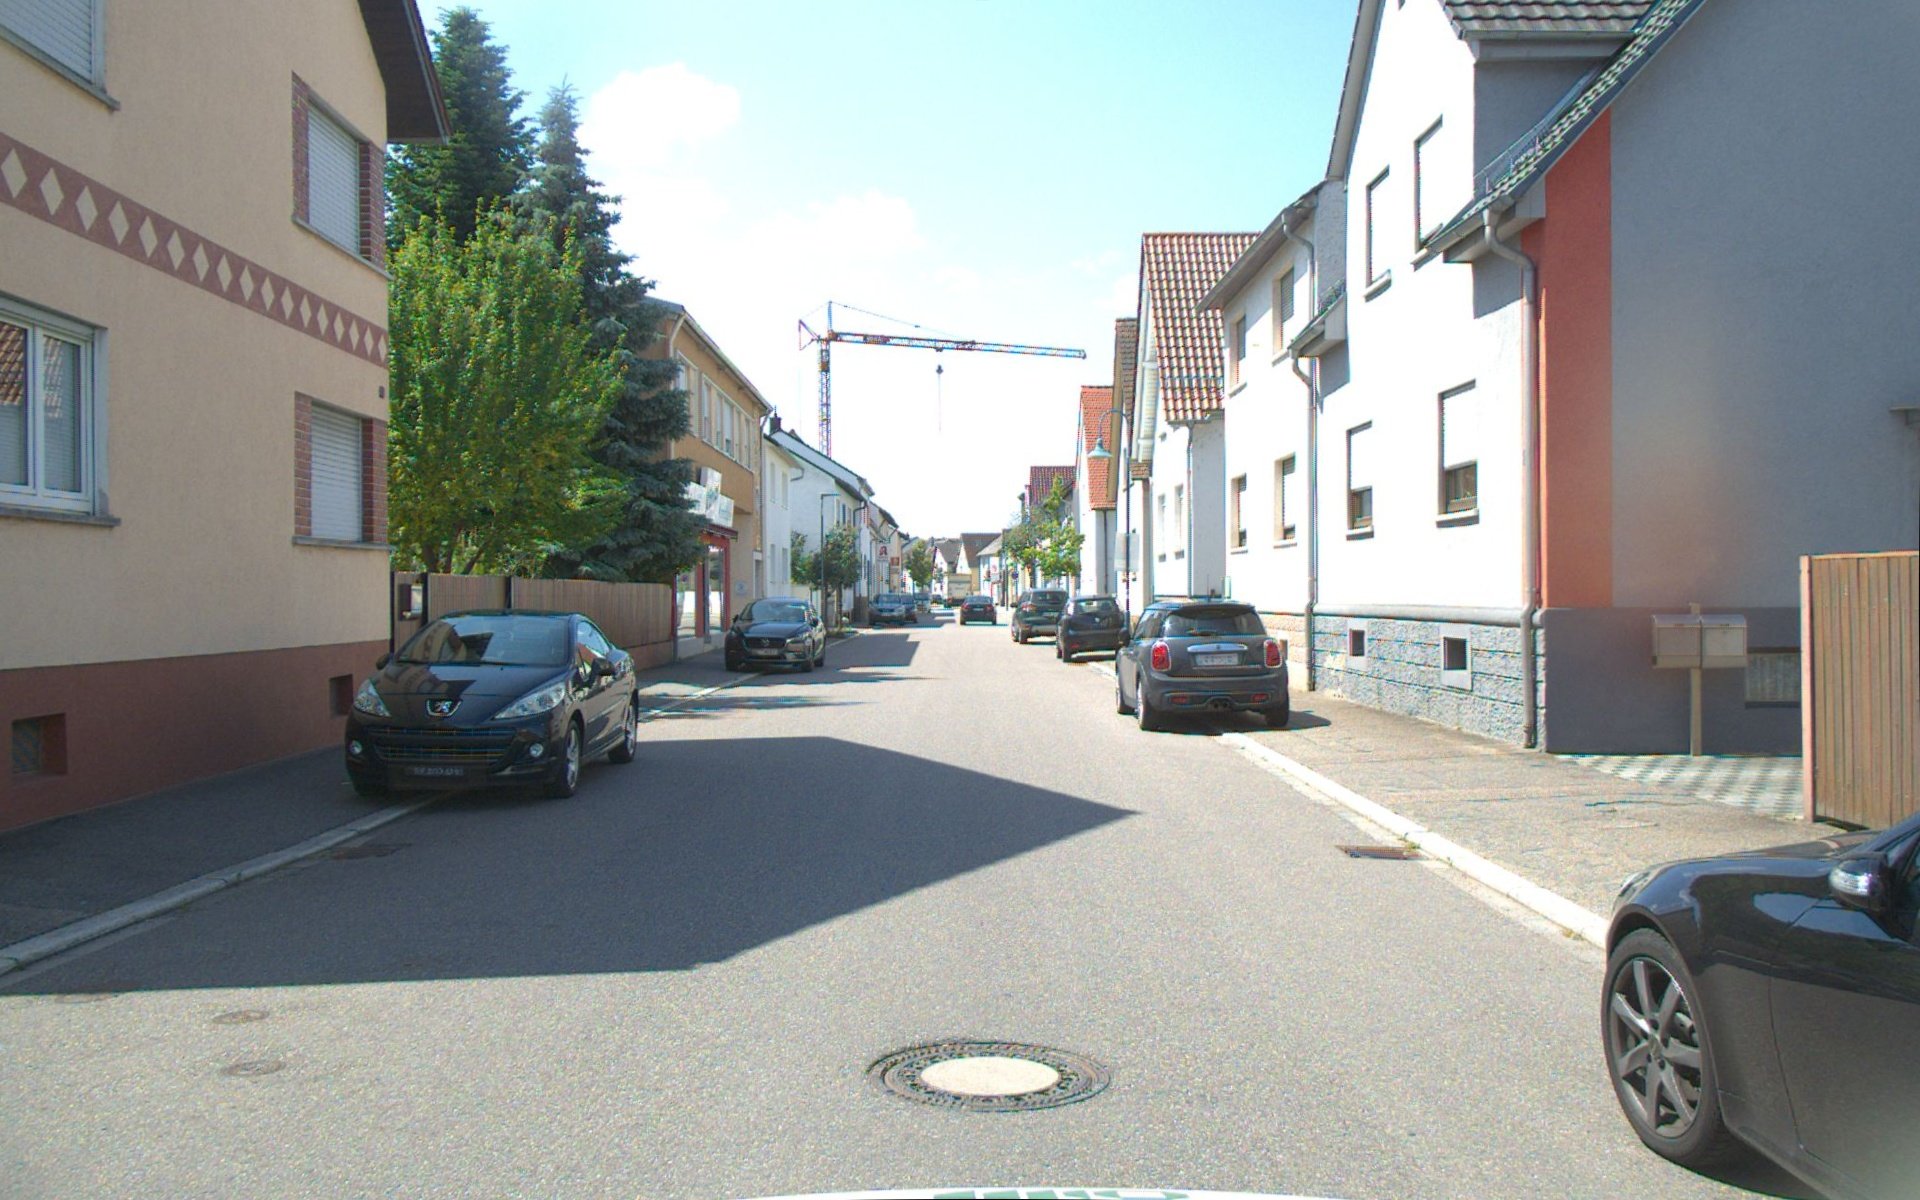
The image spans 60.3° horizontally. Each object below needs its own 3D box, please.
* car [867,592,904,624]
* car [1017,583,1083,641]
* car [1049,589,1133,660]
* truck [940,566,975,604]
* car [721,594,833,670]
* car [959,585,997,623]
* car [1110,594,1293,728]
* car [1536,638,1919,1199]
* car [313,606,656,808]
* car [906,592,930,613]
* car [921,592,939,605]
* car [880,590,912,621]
[{"bbox_3d":[-3.774,0.376,84.049,1.722,1.551,4.288,-1,0,-1],"label":"car"},{"bbox_3d":[2.786,0.344,52.088,1.694,1.747,4.274,-1,0,-2],"label":"car"},{"bbox_3d":[3.086,0.539,39.571,1.584,1.522,3.971,-3,0,0],"label":"car"},{"bbox_3d":[-0.346,-1.549,178.783,3.310,3.933,13.921,-1,0,-1],"label":"truck"},{"bbox_3d":[-3.781,0.627,34.803,1.731,1.485,4.437,0,0,2],"label":"car"},{"bbox_3d":[0.862,0.200,83.031,1.746,1.784,3.999,-1,0,-1],"label":"car"},{"bbox_3d":[2.813,0.659,19.921,1.654,1.447,3.656,-1,0,0],"label":"car"},{"bbox_3d":[2.766,0.786,3.365,1.778,1.298,4.147,0,0,0],"label":"car"},{"bbox_3d":[-3.793,0.779,13.920,1.725,1.398,4.066,1,0,-1],"label":"car"},{"bbox_3d":[-3.289,0.171,130.203,1.688,1.583,4.172,1,0,0],"label":"car"},{"bbox_3d":[-4.477,-0.220,246.579,1.791,1.784,4.210,-1,0,-16],"label":"car"},{"bbox_3d":[-3.489,0.309,90.780,1.619,1.637,4.060,-1,0,-1],"label":"car"}]
